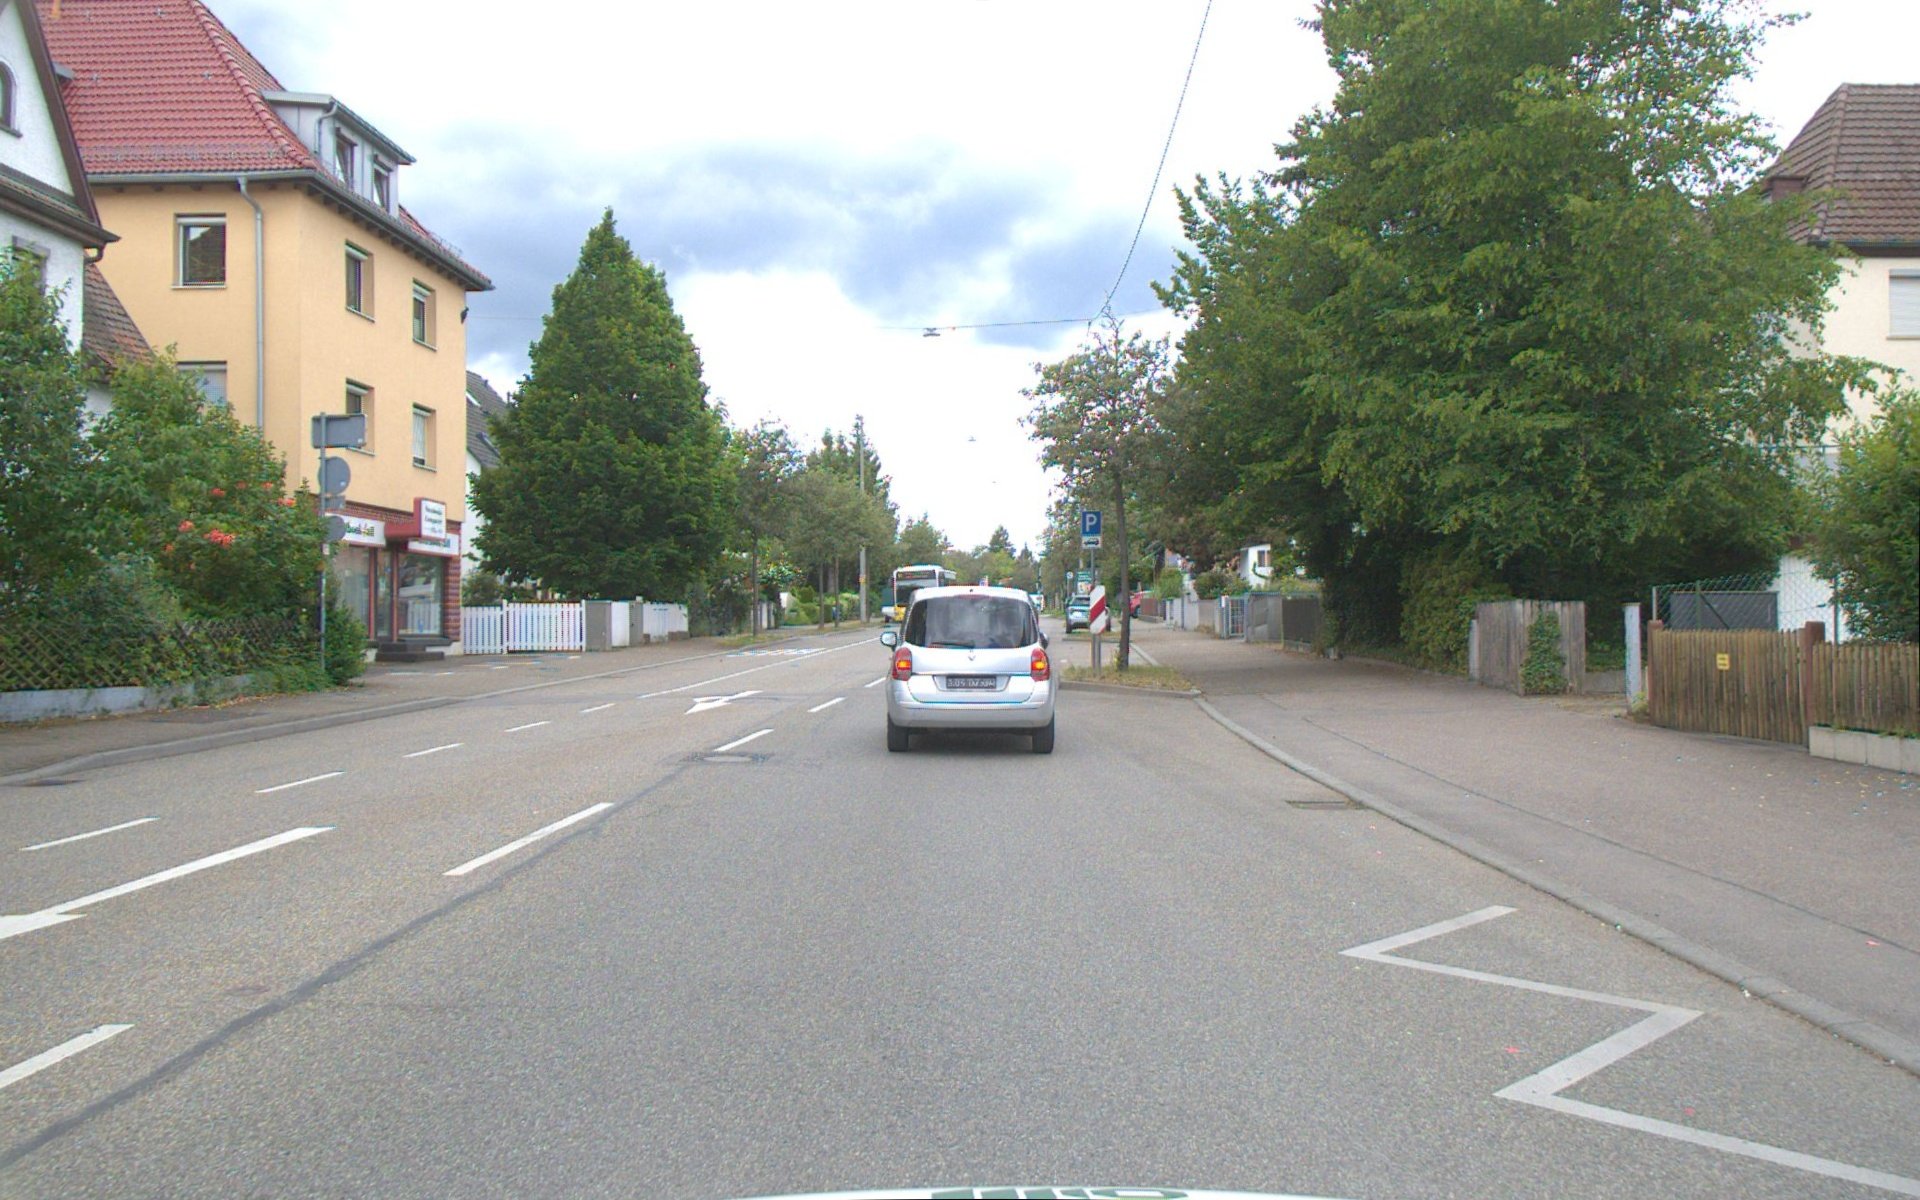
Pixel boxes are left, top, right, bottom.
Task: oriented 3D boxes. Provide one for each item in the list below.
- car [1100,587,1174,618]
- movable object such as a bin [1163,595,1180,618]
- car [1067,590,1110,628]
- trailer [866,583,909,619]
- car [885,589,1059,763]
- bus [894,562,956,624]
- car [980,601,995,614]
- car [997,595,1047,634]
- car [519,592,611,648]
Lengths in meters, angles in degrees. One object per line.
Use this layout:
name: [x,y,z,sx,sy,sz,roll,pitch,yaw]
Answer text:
car: [10.250,0.152,95.883,3.910,1.522,1.808,-4,0,-5]
movable object such as a bin: [10.283,0.304,80.313,0.760,1.123,0.691,-1,0,2]
car: [4.904,0.369,63.523,1.615,1.407,4.001,0,-1,4]
trailer: [-4.463,0.105,102.711,2.264,2.123,5.873,1,-1,2]
car: [0.144,0.735,17.308,1.596,1.584,4.000,1,-1,1]
bus: [-1.834,-0.372,91.995,2.577,3.140,12.074,-2,0,3]
car: [3.824,1.053,230.815,1.867,1.646,3.998,0,-1,-2]
car: [2.848,0.642,75.286,1.790,1.705,3.577,-1,0,9]
car: [-12.373,0.586,52.047,1.769,1.591,4.618,-3,0,-1]
